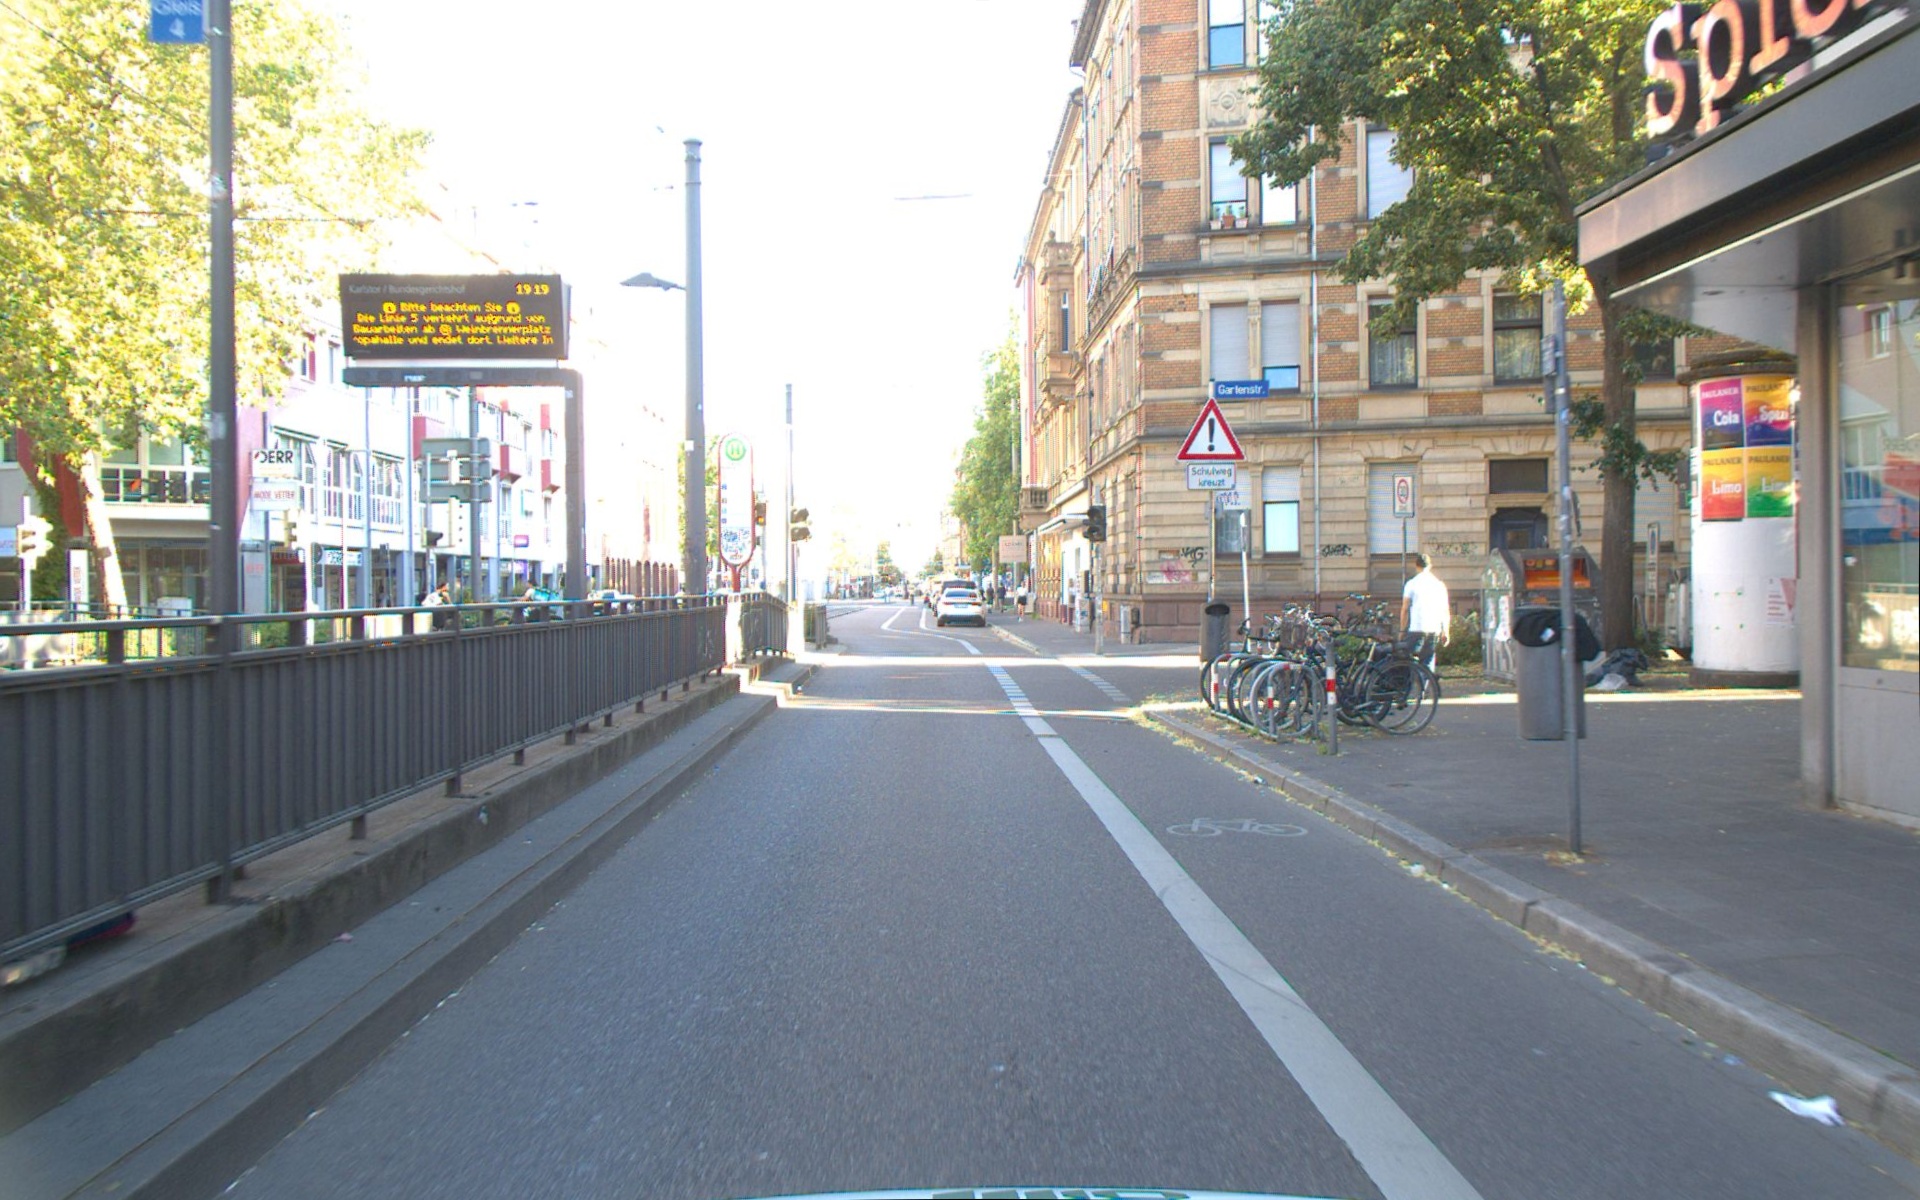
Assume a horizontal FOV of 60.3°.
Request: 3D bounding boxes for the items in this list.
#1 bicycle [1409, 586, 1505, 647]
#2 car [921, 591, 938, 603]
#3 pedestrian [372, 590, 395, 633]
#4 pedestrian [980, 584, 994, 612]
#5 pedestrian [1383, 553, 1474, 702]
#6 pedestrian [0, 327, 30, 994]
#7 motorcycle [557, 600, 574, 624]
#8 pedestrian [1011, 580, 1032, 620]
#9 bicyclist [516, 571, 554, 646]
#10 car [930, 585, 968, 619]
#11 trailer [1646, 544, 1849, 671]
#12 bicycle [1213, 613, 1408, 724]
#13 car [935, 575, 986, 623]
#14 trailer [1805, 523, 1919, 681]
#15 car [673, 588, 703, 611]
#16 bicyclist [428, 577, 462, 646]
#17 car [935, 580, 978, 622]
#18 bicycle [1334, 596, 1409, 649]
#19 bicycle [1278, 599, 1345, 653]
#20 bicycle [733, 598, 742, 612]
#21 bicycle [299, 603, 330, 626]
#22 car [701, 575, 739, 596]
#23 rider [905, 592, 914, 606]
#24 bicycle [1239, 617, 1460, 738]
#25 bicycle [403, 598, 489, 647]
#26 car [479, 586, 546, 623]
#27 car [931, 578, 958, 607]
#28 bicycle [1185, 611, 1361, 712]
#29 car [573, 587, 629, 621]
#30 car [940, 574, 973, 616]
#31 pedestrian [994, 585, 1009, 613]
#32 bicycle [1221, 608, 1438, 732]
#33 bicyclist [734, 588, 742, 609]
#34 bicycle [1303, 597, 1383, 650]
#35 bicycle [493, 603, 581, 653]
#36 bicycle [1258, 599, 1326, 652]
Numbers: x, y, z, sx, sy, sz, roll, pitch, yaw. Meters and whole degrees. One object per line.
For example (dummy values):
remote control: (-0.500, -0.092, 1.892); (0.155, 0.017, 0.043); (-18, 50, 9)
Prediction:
bicycle: (10.167, 0.319, 33.898); (0.606, 1.203, 2.088); (0, 0, -27)
car: (-3.702, -0.352, 201.660); (2.024, 1.413, 4.224); (2, 0, -2)
pedestrian: (-23.337, 0.471, 66.971); (0.729, 1.742, 0.615); (0, 0, -5)
pedestrian: (1.602, -0.112, 98.368); (0.760, 1.594, 0.913); (-4, 0, 0)
pedestrian: (5.464, 0.300, 19.353); (0.767, 1.694, 1.033); (0, 2, -1)
pedestrian: (-2.802, 0.162, 4.018); (0.609, 1.742, 0.849); (0, 0, -2)
motorcycle: (-20.736, 0.638, 86.944); (0.659, 1.226, 2.130); (1, -1, -18)
pedestrian: (2.553, -0.015, 68.221); (0.760, 1.594, 0.914); (-4, 0, 1)
bicyclist: (-9.943, 0.191, 38.689); (0.728, 1.742, 0.534); (0, 0, 0)
car: (-0.666, 0.089, 93.457); (1.910, 1.819, 5.179); (1, 0, -3)
trailer: (12.012, 0.121, 25.501); (1.924, 1.762, 3.936); (-1, -1, 12)
bicycle: (3.512, 0.673, 16.643); (1.798, 1.072, 0.717); (0, 0, -5)
car: (0.016, -0.055, 65.638); (1.926, 1.802, 4.874); (1, 0, -1)
trailer: (12.445, 0.004, 21.587); (1.541, 1.917, 3.188); (-2, -1, 9)
car: (-20.162, -0.049, 122.823); (1.832, 1.628, 4.250); (0, 0, -4)
bicyclist: (-12.234, 0.269, 39.279); (0.733, 1.605, 0.530); (0, 0, -23)
car: (-0.155, 0.034, 77.642); (1.915, 1.901, 4.988); (1, 0, 0)
bicycle: (8.403, 0.440, 33.839); (0.488, 1.042, 1.895); (0, 0, -22)
bicycle: (7.149, 0.515, 33.719); (0.411, 1.042, 1.896); (0, 0, -20)
bicycle: (-18.962, 0.436, 141.164); (0.572, 1.096, 2.179); (-2, 0, -12)
bicycle: (-20.551, 0.460, 52.652); (0.447, 0.670, 1.807); (2, 0, -7)
car: (-26.113, -1.598, 179.961); (3.791, 1.655, 1.875); (-3, -14, -2)
rider: (-5.371, -0.127, 176.041); (0.865, 1.507, 0.713); (1, 0, -1)
bicycle: (3.575, 0.701, 15.258); (1.875, 1.066, 0.680); (0, 0, -5)
bicycle: (-12.191, 0.532, 39.263); (1.869, 1.096, 0.580); (2, 0, -25)
car: (-18.765, 0.176, 69.575); (1.832, 1.464, 4.703); (1, 0, -4)
car: (-1.135, -0.575, 123.381); (1.931, 2.049, 4.557); (-2, 0, -1)
bicycle: (3.450, 0.666, 18.316); (1.798, 1.072, 0.710); (0, 0, -5)
car: (-19.242, 0.259, 88.842); (2.049, 1.743, 4.816); (1, -1, -2)
car: (-0.166, -0.250, 88.371); (1.670, 2.157, 3.707); (0, -1, 1)
pedestrian: (2.466, -0.080, 98.236); (0.760, 1.594, 0.913); (-4, 0, 0)
bicycle: (3.540, 0.655, 15.914); (1.931, 1.124, 0.614); (-1, 0, -5)
bicyclist: (-18.943, -0.095, 140.957); (0.561, 1.742, 0.743); (-2, 0, -12)
bicycle: (7.845, 0.464, 33.916); (0.457, 1.057, 1.889); (0, 0, -29)
bicycle: (-9.887, 0.645, 38.696); (1.854, 1.096, 0.584); (2, 0, 0)
bicycle: (6.747, 0.499, 33.709); (0.444, 1.042, 1.896); (0, 0, -20)
